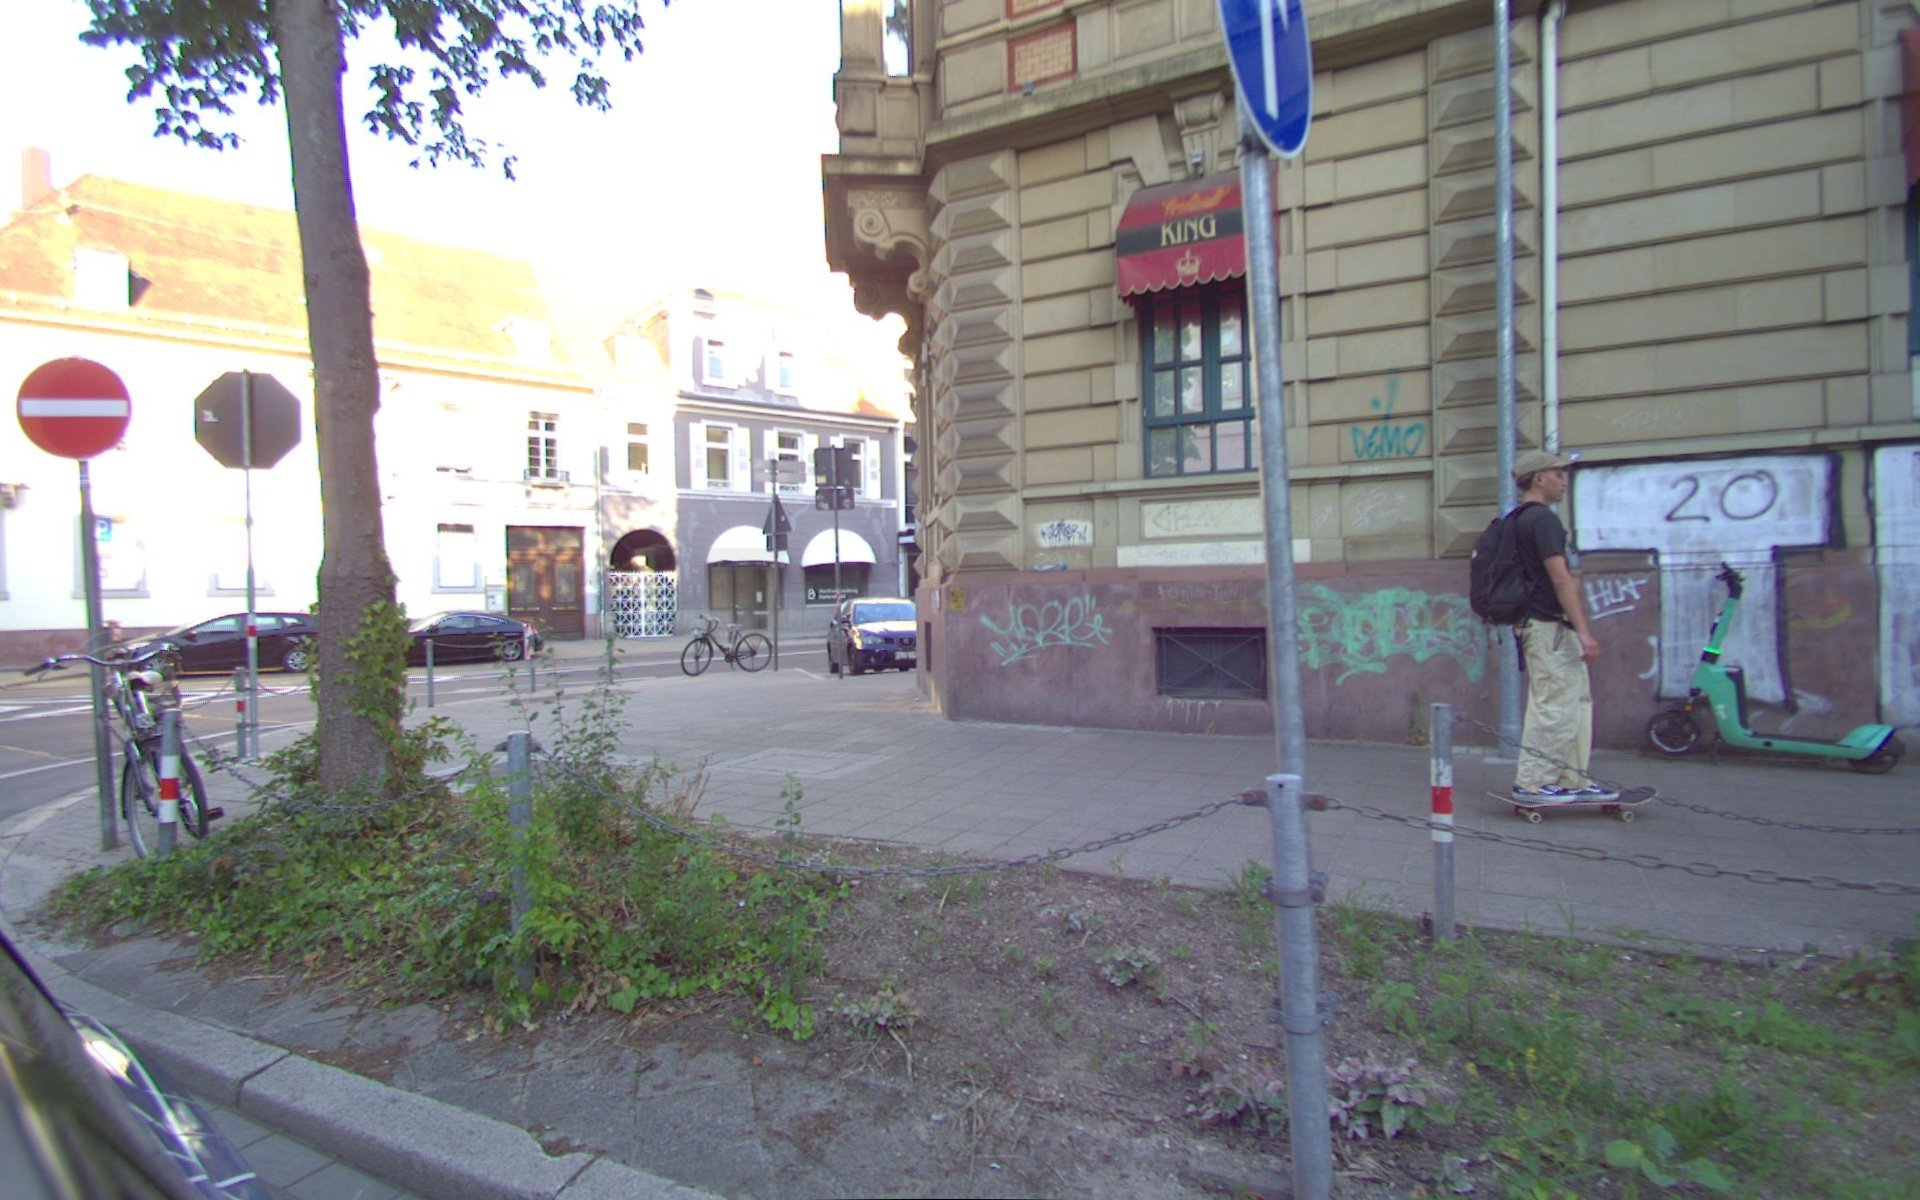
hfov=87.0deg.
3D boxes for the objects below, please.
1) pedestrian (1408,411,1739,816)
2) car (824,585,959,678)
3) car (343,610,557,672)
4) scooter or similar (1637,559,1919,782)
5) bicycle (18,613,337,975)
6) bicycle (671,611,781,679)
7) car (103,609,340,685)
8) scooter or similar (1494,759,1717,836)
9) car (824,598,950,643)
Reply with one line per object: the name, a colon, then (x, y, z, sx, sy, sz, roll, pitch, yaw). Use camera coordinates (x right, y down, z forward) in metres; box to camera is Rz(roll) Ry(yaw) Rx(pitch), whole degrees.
pedestrian: (2.975, 0.065, 5.044, 1.261, 1.752, 0.843, -2, 1, 28)
car: (-1.371, 0.615, 18.515, 1.711, 1.472, 3.873, -1, -3, -15)
car: (-13.405, 1.037, 26.761, 4.779, 1.405, 1.782, -1, -1, -38)
scooter or similar: (4.768, 0.373, 5.920, 1.286, 1.176, 0.434, -1, 2, 41)
bicycle: (-3.819, 0.721, 4.815, 2.573, 1.277, 0.834, -2, -1, 44)
bicycle: (-4.234, 0.808, 18.364, 1.773, 1.134, 0.730, -2, -3, -31)
car: (-17.219, 1.037, 23.751, 4.360, 1.553, 1.811, -1, -1, -39)
scooter or similar: (3.111, 0.949, 4.944, 0.878, 0.208, 0.414, -1, 3, 28)
car: (-2.558, 0.703, 35.989, 4.182, 1.458, 1.751, -1, 0, -39)
